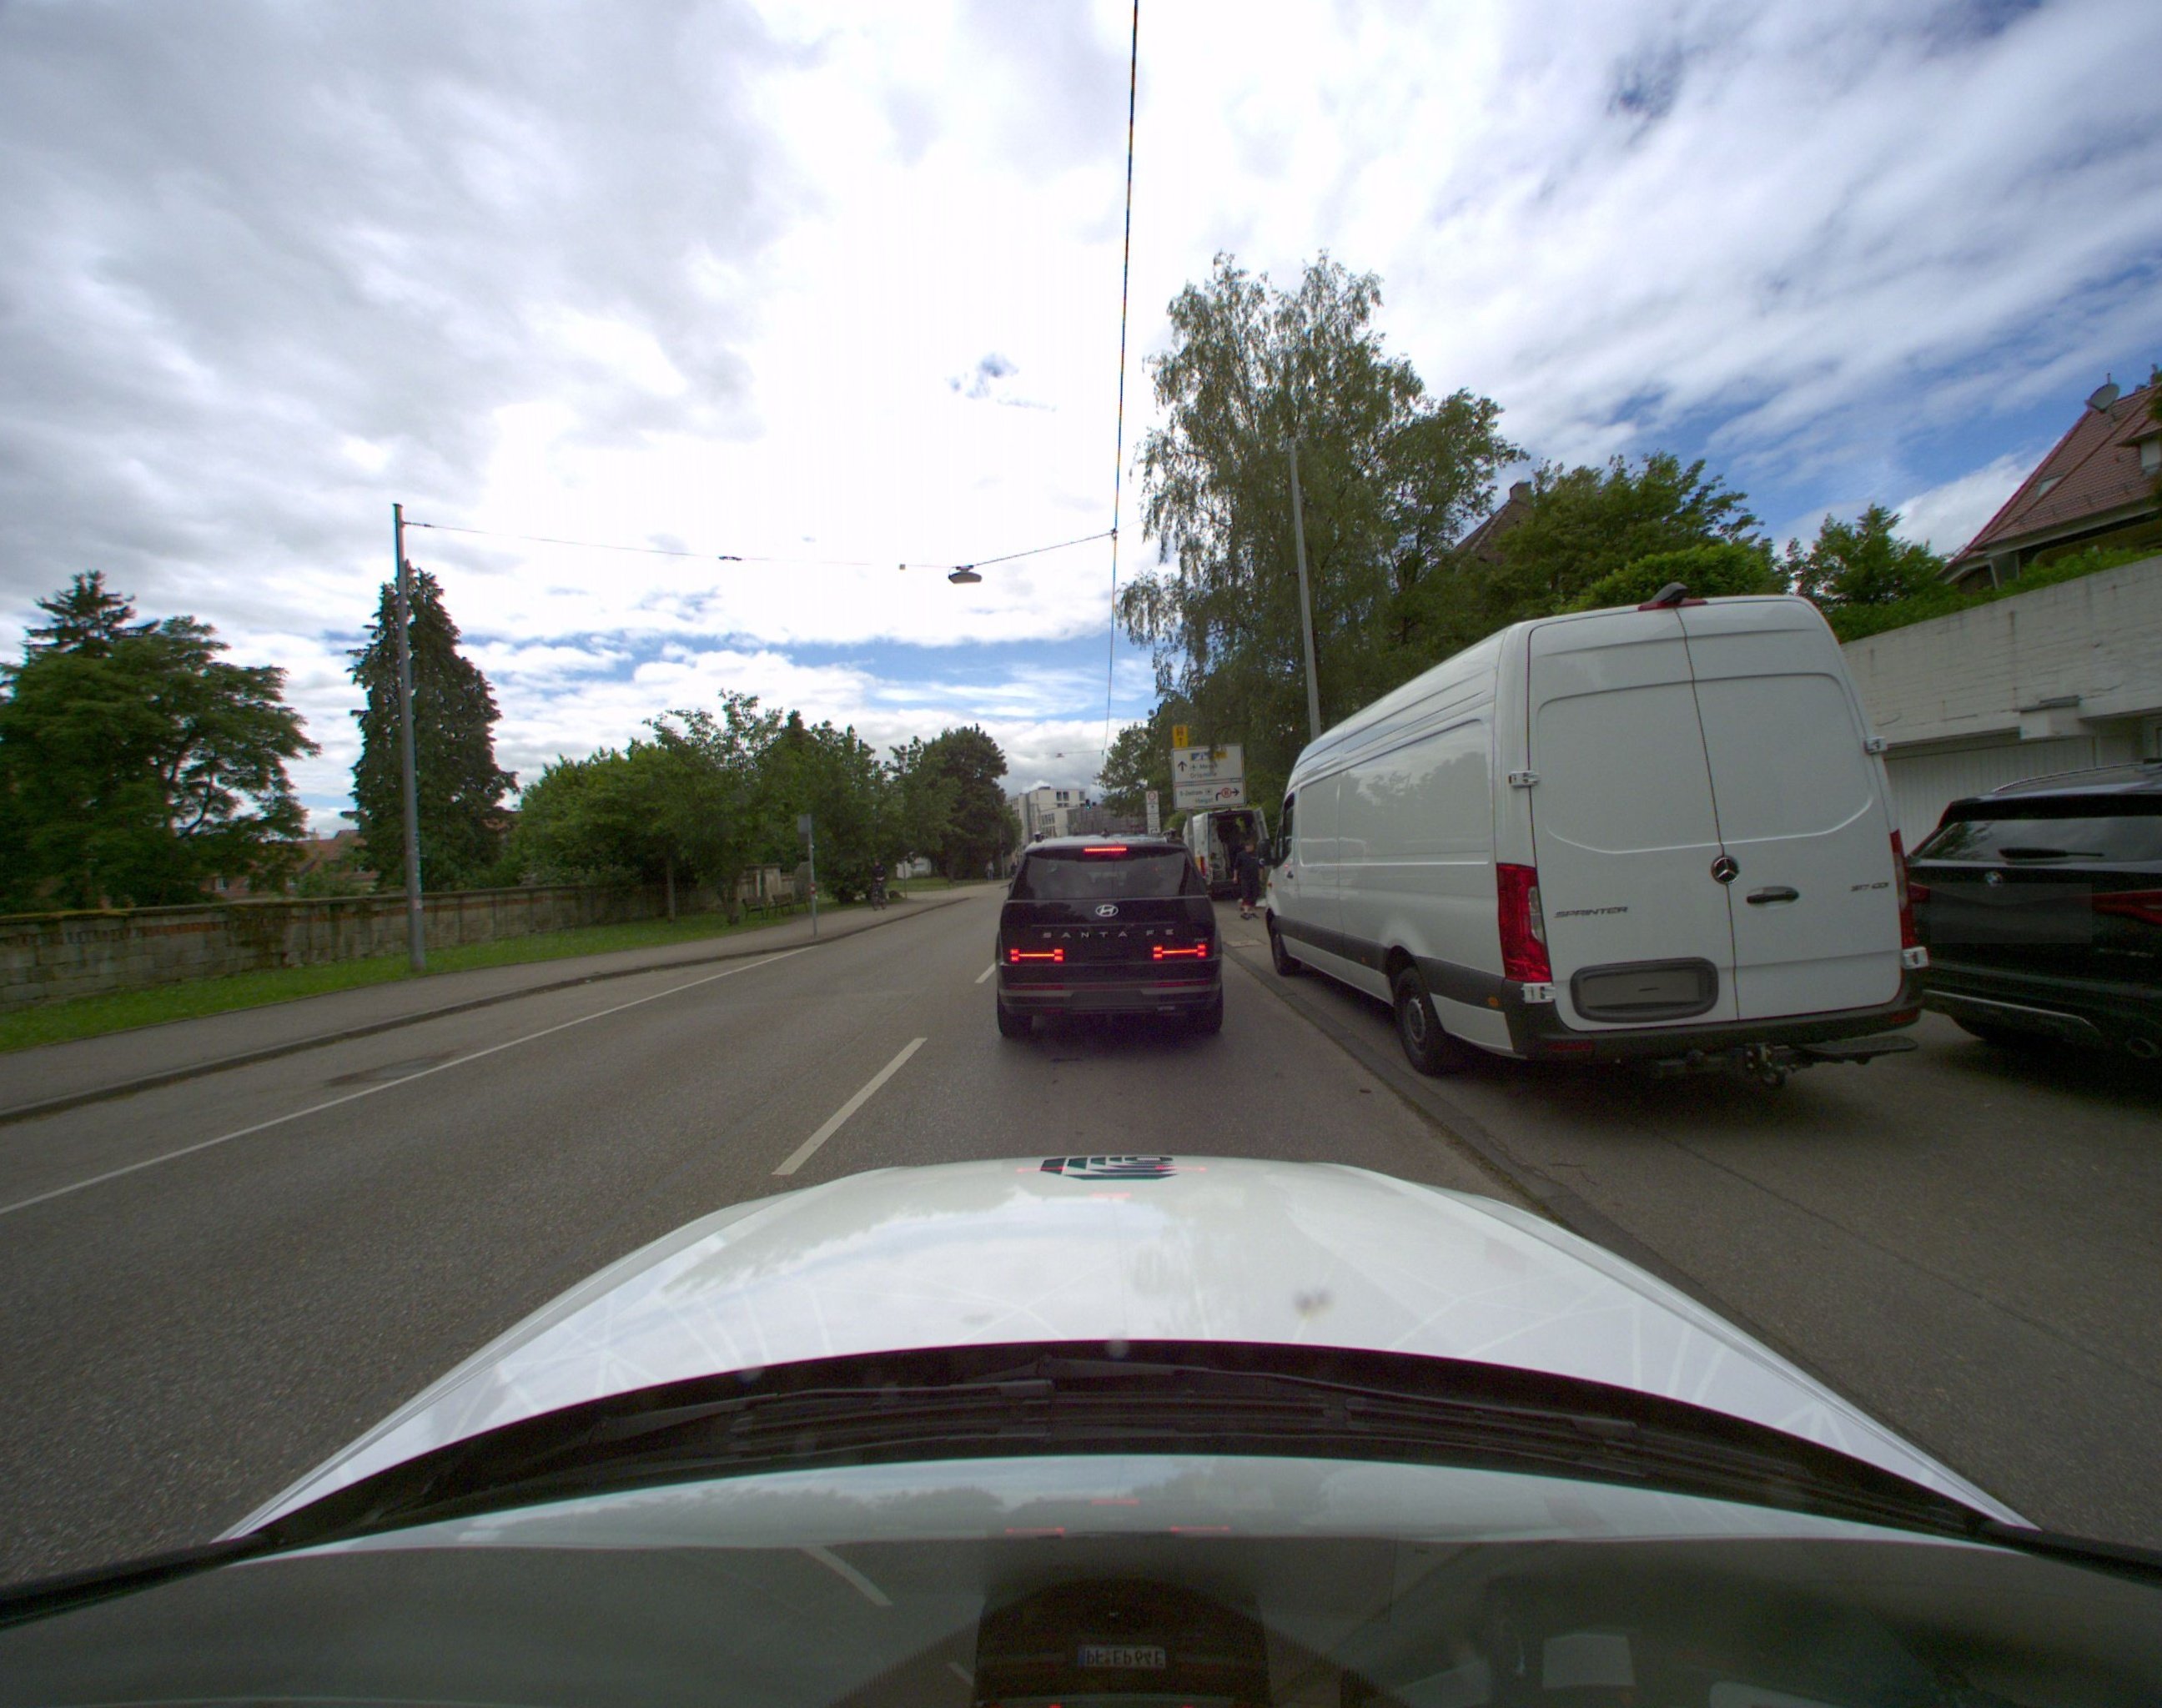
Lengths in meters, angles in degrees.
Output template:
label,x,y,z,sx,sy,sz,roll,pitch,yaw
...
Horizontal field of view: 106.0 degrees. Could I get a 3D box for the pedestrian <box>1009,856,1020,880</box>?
label,x,y,z,sx,sy,sz,roll,pitch,yaw
pedestrian,-5.757,1.192,70.501,0.826,2.014,1.048,0,-1,4

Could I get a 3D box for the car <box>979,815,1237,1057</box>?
label,x,y,z,sx,sy,sz,roll,pitch,yaw
car,0.258,0.620,7.992,1.890,1.776,3.995,0,-1,2

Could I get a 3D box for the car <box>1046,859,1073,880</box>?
label,x,y,z,sx,sy,sz,roll,pitch,yaw
car,-1.610,1.159,62.973,1.750,1.403,4.416,-5,-1,2

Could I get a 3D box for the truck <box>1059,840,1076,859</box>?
label,x,y,z,sx,sy,sz,roll,pitch,yaw
truck,-3.152,-0.976,187.438,3.102,3.859,9.607,-3,0,-4

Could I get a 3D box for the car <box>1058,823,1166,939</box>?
label,x,y,z,sx,sy,sz,roll,pitch,yaw
car,0.612,0.499,16.456,1.890,2.042,3.995,0,-1,2

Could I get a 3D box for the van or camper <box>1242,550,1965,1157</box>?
label,x,y,z,sx,sy,sz,roll,pitch,yaw
van or camper,3.057,0.020,7.054,1.984,2.625,6.546,-6,-1,2

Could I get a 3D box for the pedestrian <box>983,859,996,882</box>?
label,x,y,z,sx,sy,sz,roll,pitch,yaw
pedestrian,-6.969,1.230,62.061,0.764,1.748,0.904,-2,-1,1

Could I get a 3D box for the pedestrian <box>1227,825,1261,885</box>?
label,x,y,z,sx,sy,sz,roll,pitch,yaw
pedestrian,4.685,0.033,23.418,0.733,1.643,0.802,-4,-1,3

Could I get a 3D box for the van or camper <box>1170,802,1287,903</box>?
label,x,y,z,sx,sy,sz,roll,pitch,yaw
van or camper,4.341,0.024,25.312,2.332,2.494,6.603,-6,-1,1

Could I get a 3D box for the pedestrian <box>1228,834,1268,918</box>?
label,x,y,z,sx,sy,sz,roll,pitch,yaw
pedestrian,3.552,0.467,17.344,0.745,1.721,0.794,-2,-1,12

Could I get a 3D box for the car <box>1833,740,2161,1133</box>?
label,x,y,z,sx,sy,sz,roll,pitch,yaw
car,6.784,0.218,4.049,4.365,1.675,1.696,-4,-1,2

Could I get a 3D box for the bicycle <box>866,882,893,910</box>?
label,x,y,z,sx,sy,sz,roll,pitch,yaw
bicycle,-7.431,1.525,30.103,0.493,0.964,1.749,0,-1,2

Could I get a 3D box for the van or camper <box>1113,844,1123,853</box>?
label,x,y,z,sx,sy,sz,roll,pitch,yaw
van or camper,7.752,-1.166,172.583,1.791,1.999,3.821,0,-1,-2

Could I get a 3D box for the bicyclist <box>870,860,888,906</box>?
label,x,y,z,sx,sy,sz,roll,pitch,yaw
bicyclist,-7.432,1.058,30.009,0.486,1.684,0.588,0,-1,1

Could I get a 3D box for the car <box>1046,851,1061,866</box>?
label,x,y,z,sx,sy,sz,roll,pitch,yaw
car,-4.920,0.809,144.559,2.328,2.315,4.950,-3,0,-4
